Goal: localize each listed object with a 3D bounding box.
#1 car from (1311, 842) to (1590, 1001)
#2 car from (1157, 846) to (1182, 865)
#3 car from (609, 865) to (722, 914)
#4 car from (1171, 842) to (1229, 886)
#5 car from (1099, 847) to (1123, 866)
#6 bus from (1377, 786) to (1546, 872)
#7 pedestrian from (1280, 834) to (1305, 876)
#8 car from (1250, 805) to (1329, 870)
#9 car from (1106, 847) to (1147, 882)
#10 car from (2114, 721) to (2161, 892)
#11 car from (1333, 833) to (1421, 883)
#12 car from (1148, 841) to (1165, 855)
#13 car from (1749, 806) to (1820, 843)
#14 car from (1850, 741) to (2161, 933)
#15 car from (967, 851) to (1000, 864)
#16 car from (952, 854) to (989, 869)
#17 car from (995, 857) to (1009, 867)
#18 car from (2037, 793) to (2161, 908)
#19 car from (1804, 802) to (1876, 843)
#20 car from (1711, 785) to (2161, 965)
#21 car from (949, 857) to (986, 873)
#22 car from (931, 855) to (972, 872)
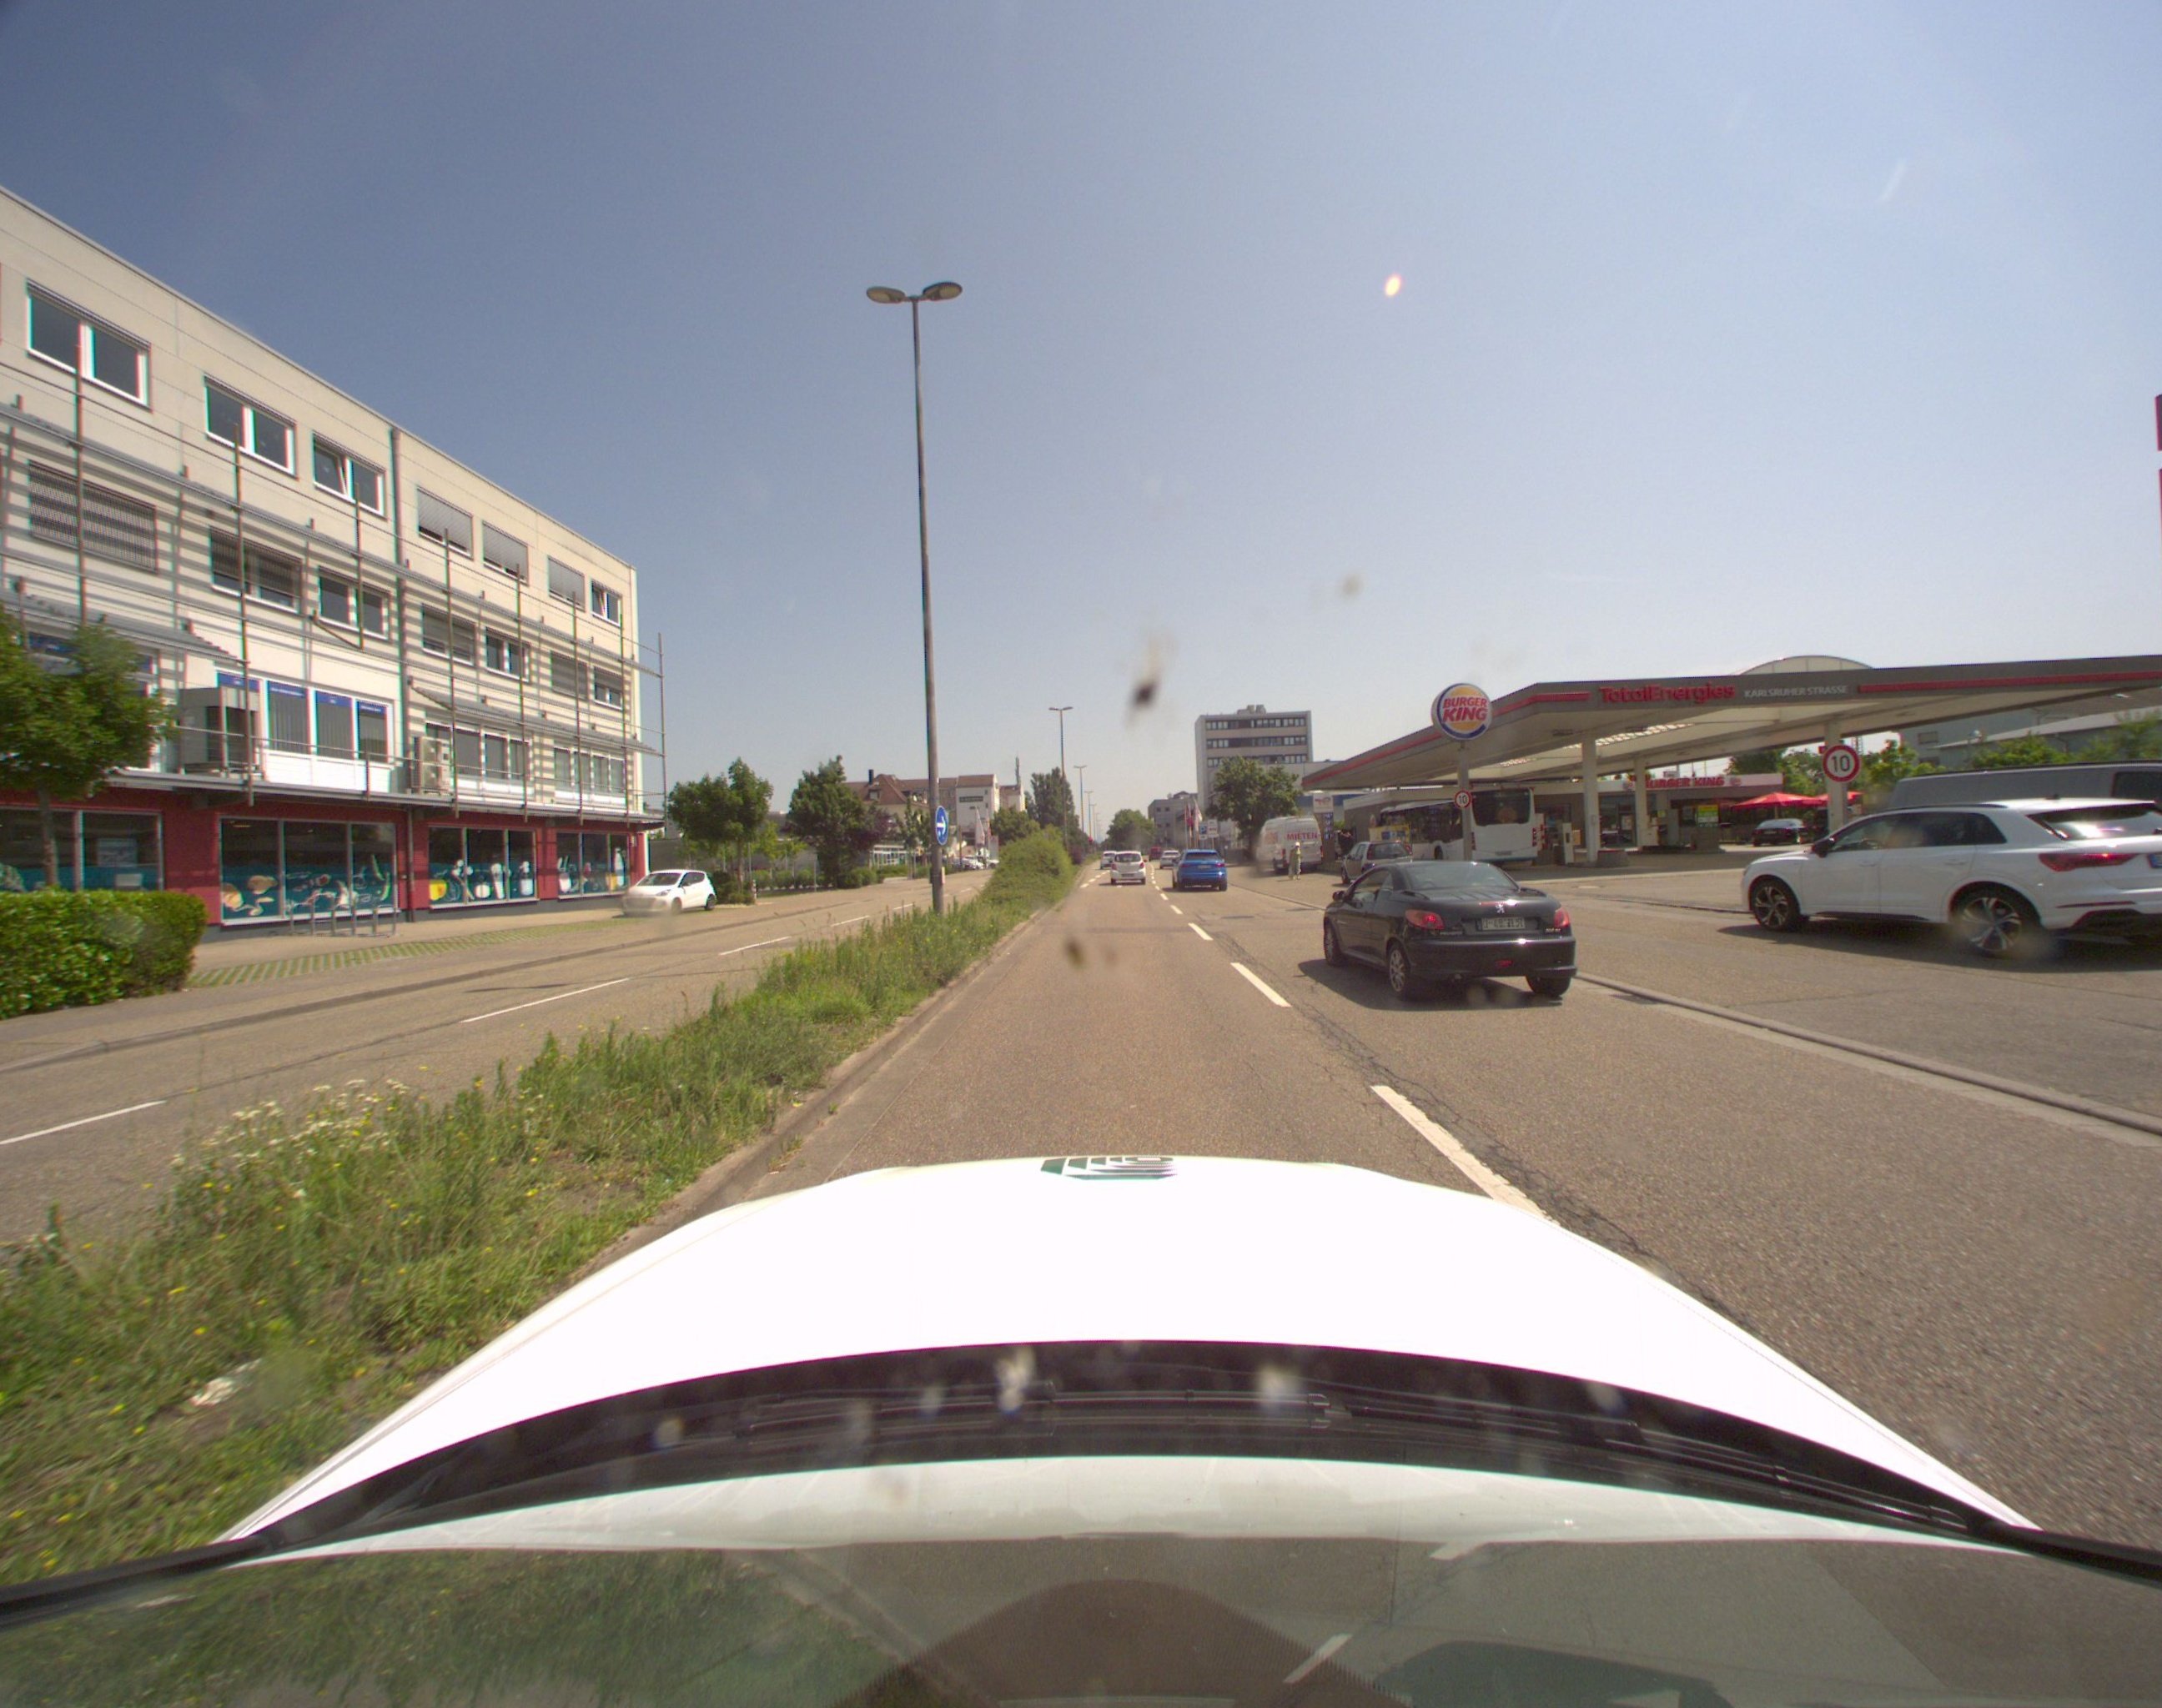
[{"bbox_3d":[3.920,0.621,9.336,1.594,1.425,3.662,-2,0,1],"label":"car"},{"bbox_3d":[6.921,0.108,63.666,1.660,1.399,3.796,-2,0,2],"label":"car"},{"bbox_3d":[-13.960,1.141,27.611,1.673,1.494,4.043,-1,-1,1],"label":"car"},{"bbox_3d":[4.589,0.352,31.861,1.904,1.597,4.400,-1,0,4],"label":"car"},{"bbox_3d":[2.470,0.223,66.600,1.822,1.450,4.003,-1,-1,4],"label":"car"},{"bbox_3d":[16.223,-1.047,36.118,2.791,3.078,12.304,-2,1,5],"label":"bus"},{"bbox_3d":[9.065,0.037,34.937,0.812,1.749,0.703,-4,-1,1],"label":"pedestrian"},{"bbox_3d":[10.448,-0.774,41.449,2.125,2.839,7.312,-5,0,2],"label":"car"},{"bbox_3d":[2.084,0.481,38.037,1.707,1.511,3.246,-1,-1,0],"label":"car"},{"bbox_3d":[17.916,-0.785,9.759,2.247,2.675,7.021,-3,0,2],"label":"car"},{"bbox_3d":[10.066,0.121,27.959,1.651,1.519,3.821,-3,0,2],"label":"car"},{"bbox_3d":[9.768,-0.742,105.897,1.789,1.729,3.971,-1,-1,0],"label":"car"},{"bbox_3d":[37.500,-1.518,43.407,4.018,1.744,1.978,1,-3,-37],"label":"car"},{"bbox_3d":[12.414,-0.182,9.549,1.986,2.023,5.161,-1,0,1],"label":"car"},{"bbox_3d":[-12.830,0.497,106.934,3.969,1.552,1.867,-1,-2,4],"label":"car"},{"bbox_3d":[-13.358,0.955,98.336,4.005,1.731,1.892,0,-2,-24],"label":"car"},{"bbox_3d":[-11.572,1.245,119.200,1.897,1.354,3.995,-1,-2,-3],"label":"car"},{"bbox_3d":[15.063,-0.055,9.829,1.737,1.513,4.602,0,0,1],"label":"car"},{"bbox_3d":[37.523,-1.504,40.246,4.018,1.744,1.840,1,-3,-37],"label":"car"},{"bbox_3d":[10.085,0.148,9.677,1.661,1.596,4.614,-3,0,1],"label":"car"},{"bbox_3d":[-13.041,1.260,93.554,3.975,1.684,1.999,-1,-2,-1],"label":"car"},{"bbox_3d":[-13.444,0.966,84.636,3.975,1.664,1.888,-1,-2,-1],"label":"car"}]
